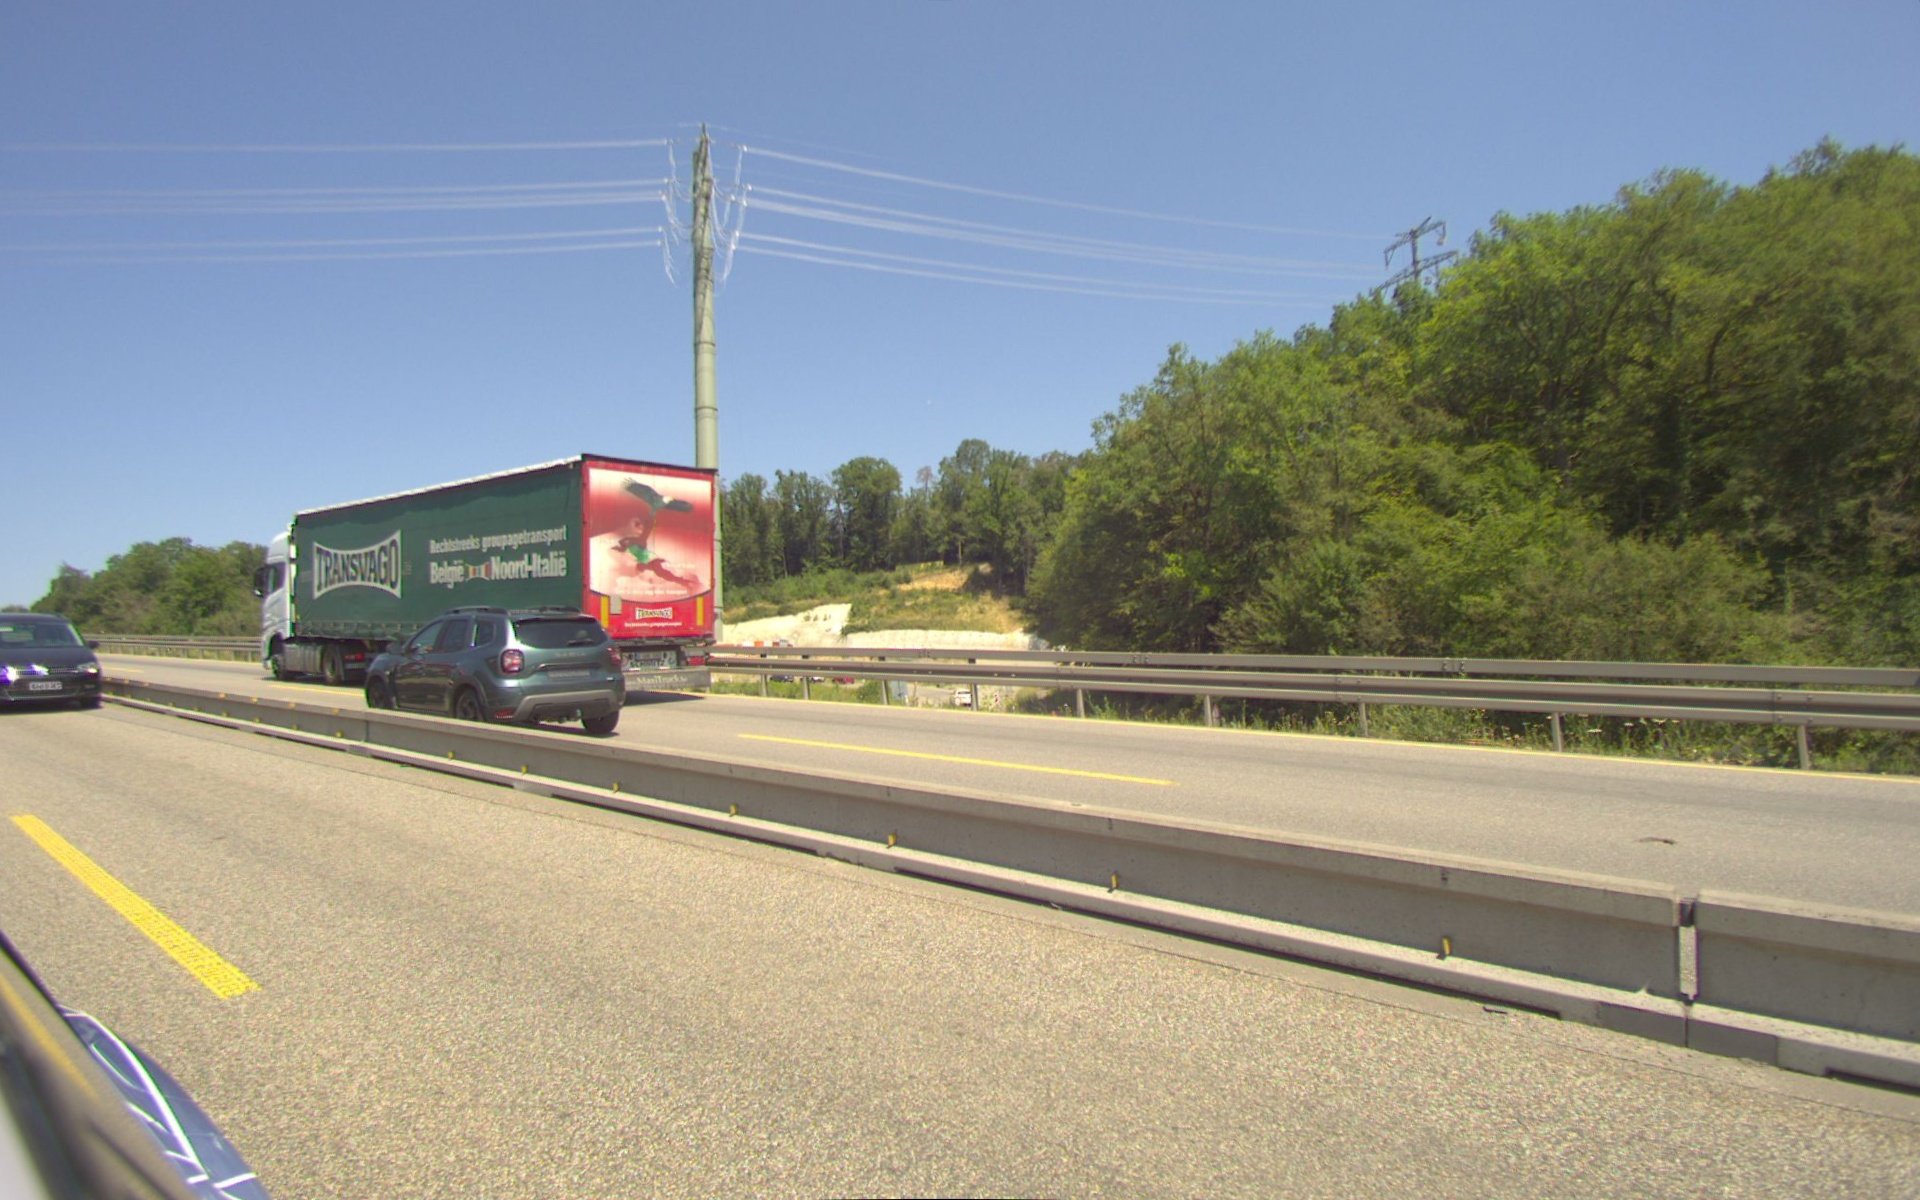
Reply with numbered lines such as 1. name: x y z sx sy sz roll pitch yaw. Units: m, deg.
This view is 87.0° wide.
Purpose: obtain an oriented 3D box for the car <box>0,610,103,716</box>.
1. car: -17.318 1.108 18.411 5.300 1.719 1.837 -2 -2 41

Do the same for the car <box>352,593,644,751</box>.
1. car: -6.004 0.824 12.964 4.112 1.694 1.936 -2 -2 42

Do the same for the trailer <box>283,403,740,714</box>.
1. trailer: -10.281 -0.476 21.457 13.990 4.852 3.033 -2 -1 40

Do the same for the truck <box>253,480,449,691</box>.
1. truck: -15.683 -0.282 26.010 4.642 4.858 3.029 -2 -2 41
